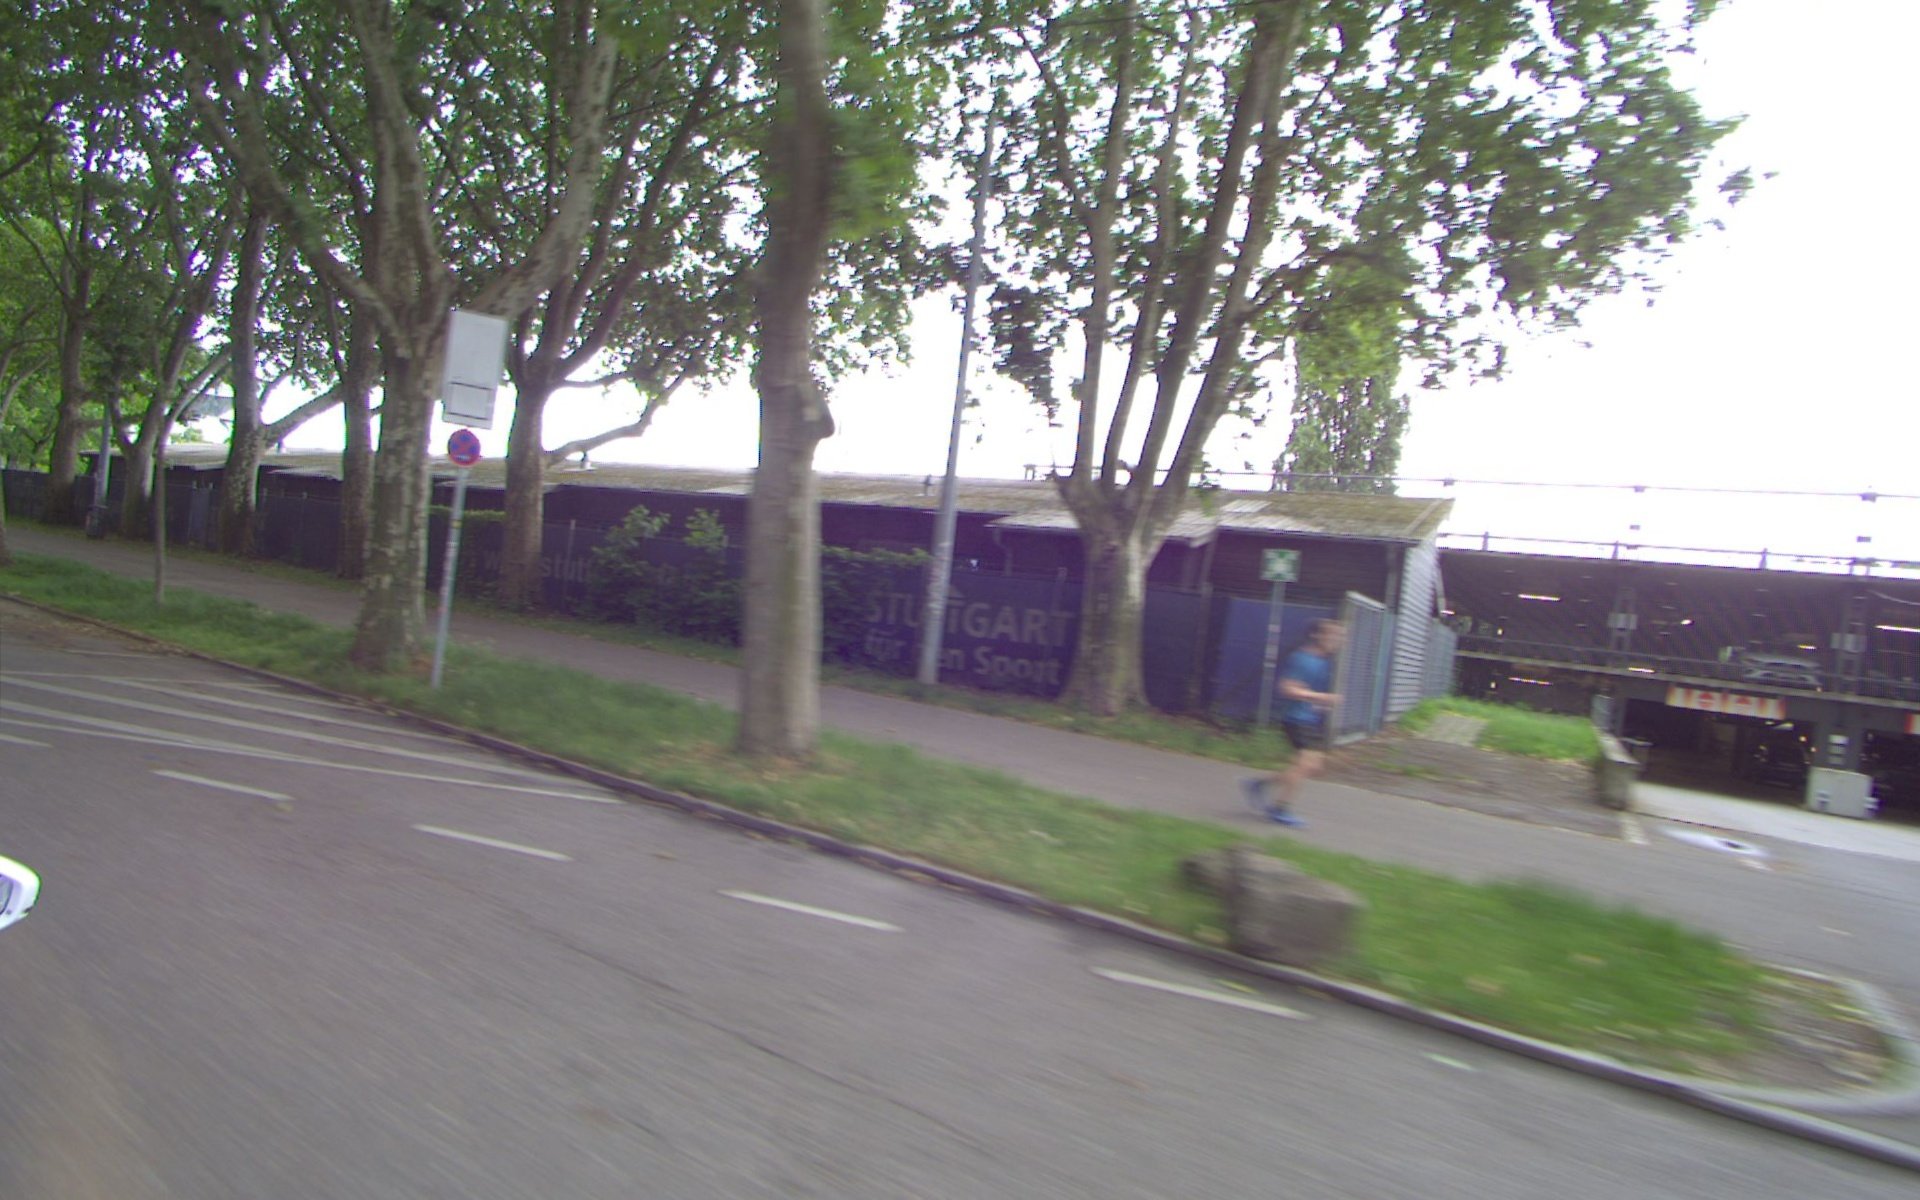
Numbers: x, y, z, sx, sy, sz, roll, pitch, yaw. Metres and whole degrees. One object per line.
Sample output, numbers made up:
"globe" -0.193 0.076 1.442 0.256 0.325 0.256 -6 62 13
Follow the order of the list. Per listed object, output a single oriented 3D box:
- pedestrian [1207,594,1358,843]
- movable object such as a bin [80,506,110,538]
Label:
"pedestrian" 2.893 1.032 9.022 0.869 2.038 0.709 7 0 41
"movable object such as a bin" -28.053 -2.522 32.620 0.663 0.973 0.567 7 5 31
